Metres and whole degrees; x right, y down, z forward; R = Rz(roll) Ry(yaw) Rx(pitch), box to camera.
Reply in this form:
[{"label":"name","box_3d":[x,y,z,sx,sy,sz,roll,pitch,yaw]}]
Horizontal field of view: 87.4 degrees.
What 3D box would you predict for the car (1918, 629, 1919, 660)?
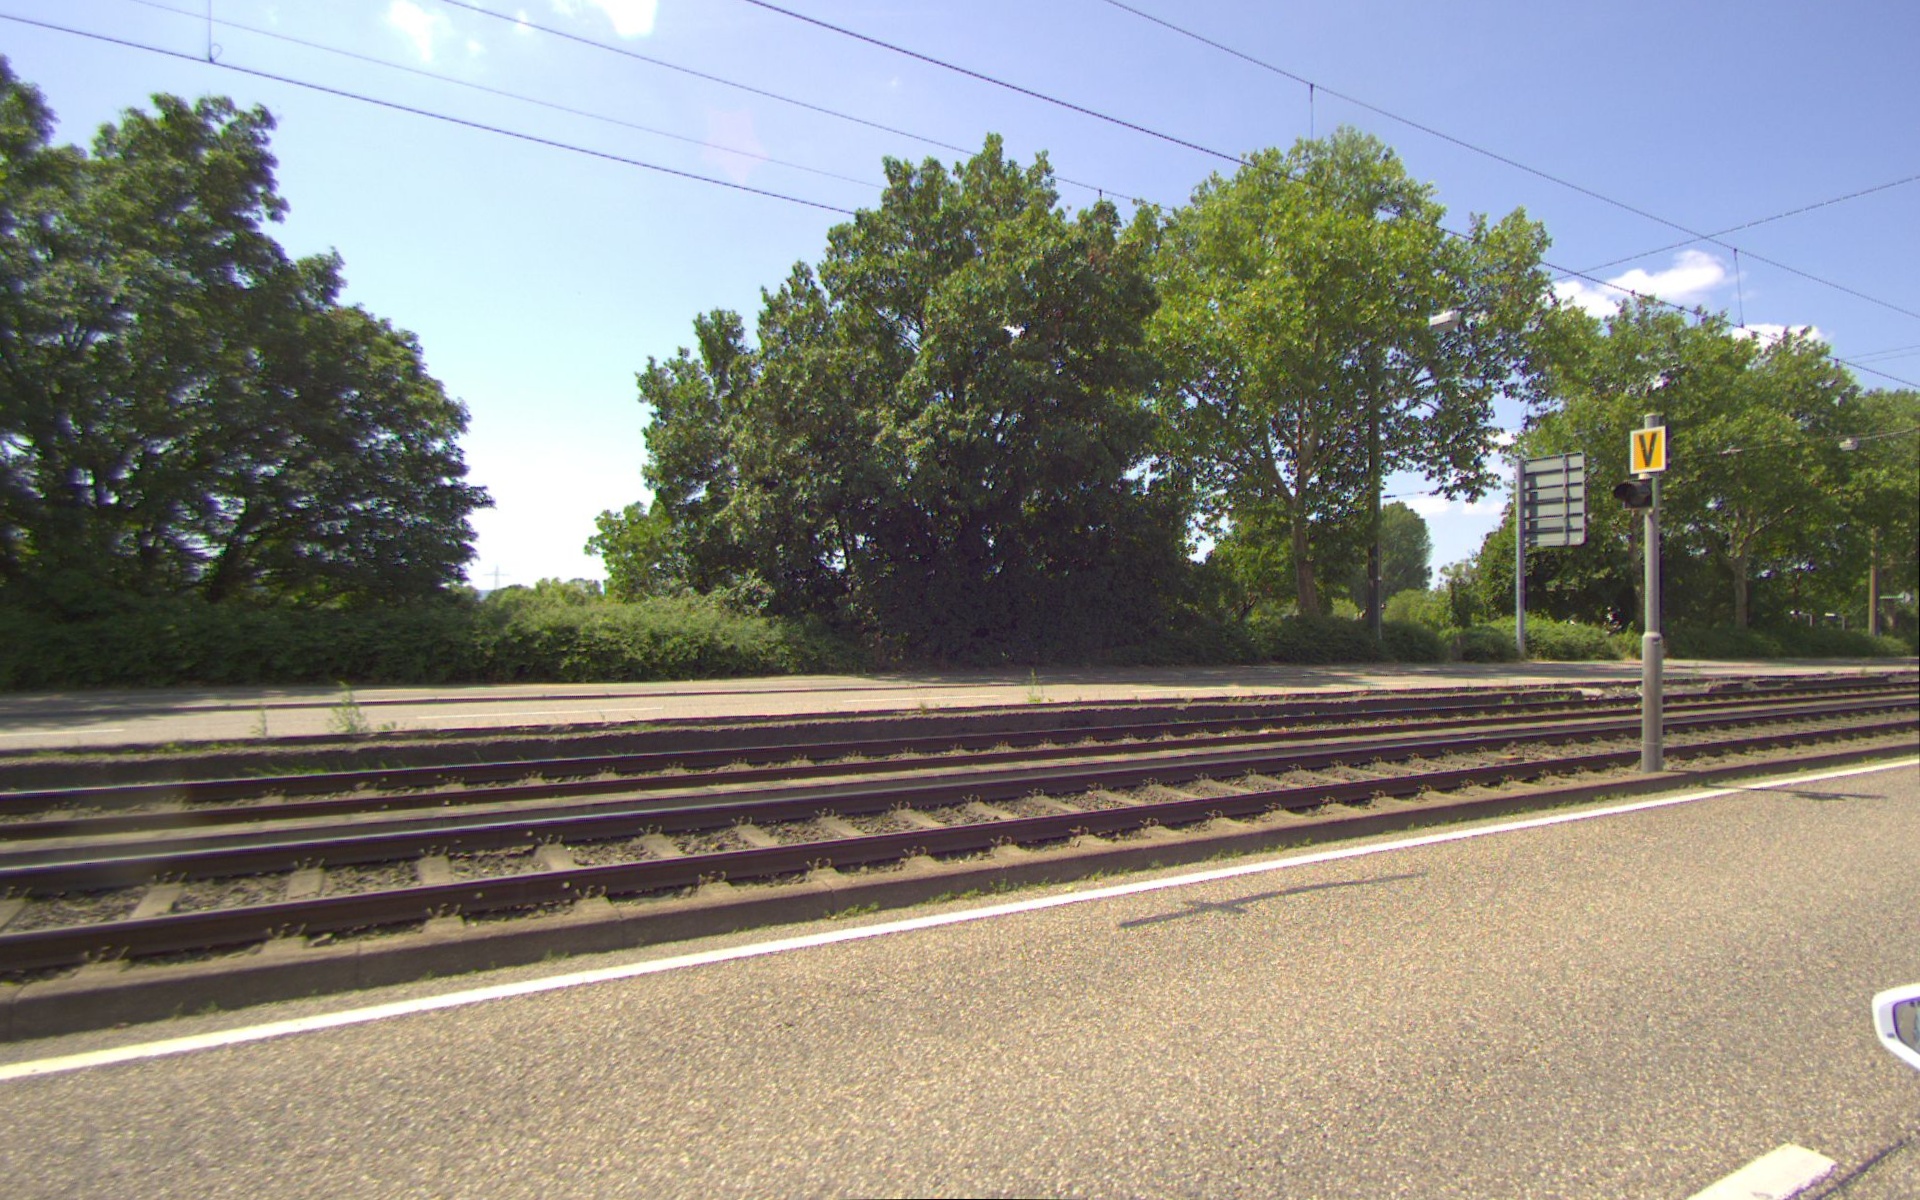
[{"label":"car","box_3d":[50.629,2.290,51.213,4.170,1.571,1.635,1,0,-33]}]
